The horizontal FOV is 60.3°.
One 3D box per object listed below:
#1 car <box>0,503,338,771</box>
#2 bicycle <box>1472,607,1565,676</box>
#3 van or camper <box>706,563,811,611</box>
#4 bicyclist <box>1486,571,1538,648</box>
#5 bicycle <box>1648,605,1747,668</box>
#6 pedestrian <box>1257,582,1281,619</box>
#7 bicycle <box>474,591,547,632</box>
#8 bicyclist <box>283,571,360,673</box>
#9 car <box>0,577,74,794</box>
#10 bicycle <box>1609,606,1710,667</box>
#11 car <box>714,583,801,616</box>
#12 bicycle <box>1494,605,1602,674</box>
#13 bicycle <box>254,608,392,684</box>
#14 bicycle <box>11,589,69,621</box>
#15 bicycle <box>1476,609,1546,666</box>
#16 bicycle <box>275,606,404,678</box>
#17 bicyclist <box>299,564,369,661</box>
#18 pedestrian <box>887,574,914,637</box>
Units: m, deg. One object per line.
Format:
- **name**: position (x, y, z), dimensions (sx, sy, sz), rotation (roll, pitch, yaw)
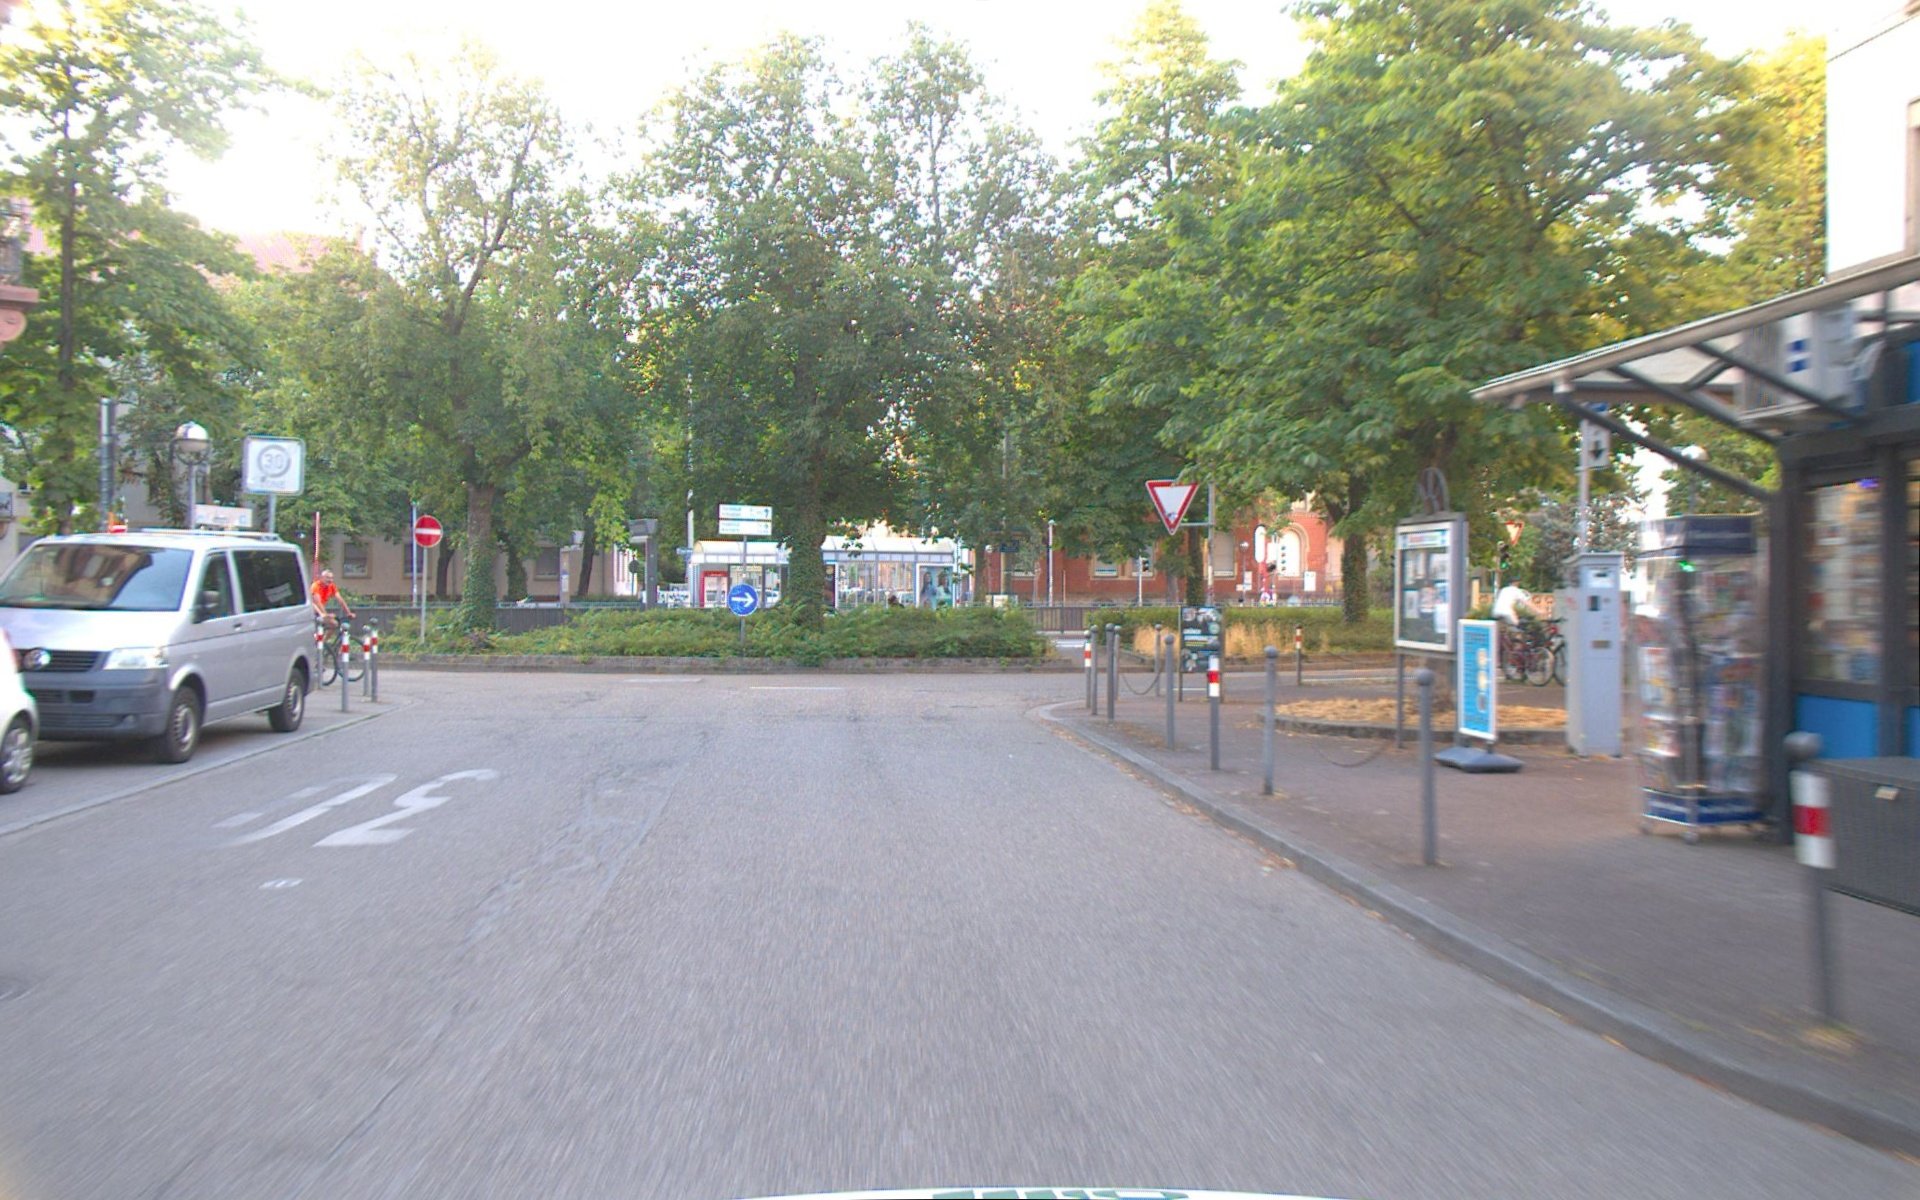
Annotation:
- **car**: position (-7.647, 0.252, 15.575), dimensions (2.001, 2.092, 5.000), rotation (2, 0, -5)
- **bicycle**: position (8.989, 0.648, 26.661), dimensions (0.425, 1.057, 1.594), rotation (0, 0, -26)
- **van or camper**: position (-14.318, -0.906, 117.548), dimensions (7.231, 3.137, 2.667), rotation (1, 0, -10)
- **bicyclist**: position (11.150, 0.182, 33.402), dimensions (0.696, 1.529, 0.914), rotation (0, 1, 41)
- **bicycle**: position (13.103, 0.630, 29.417), dimensions (0.415, 1.082, 1.583), rotation (0, 0, -42)
- **pedestrian**: position (13.254, 0.012, 70.951), dimensions (0.849, 1.552, 0.714), rotation (0, 0, 33)
- **bicycle**: position (-11.991, 0.307, 44.126), dimensions (1.828, 1.070, 0.542), rotation (0, 0, -28)
- **bicyclist**: position (-9.858, 0.330, 25.558), dimensions (0.846, 1.552, 0.716), rotation (0, 0, 17)
- **car**: position (-7.518, 0.595, 10.919), dimensions (1.651, 1.517, 3.609), rotation (2, 0, -6)
- **bicycle**: position (12.265, 0.627, 29.038), dimensions (0.549, 1.038, 1.586), rotation (0, 0, -38)
- **car**: position (-11.649, -0.041, 94.990), dimensions (4.860, 1.733, 1.996), rotation (1, 0, -10)
- **bicycle**: position (9.432, 0.612, 26.587), dimensions (0.425, 1.057, 1.883), rotation (0, 0, -26)
- **bicycle**: position (-9.843, 0.698, 25.558), dimensions (1.965, 1.126, 0.723), rotation (0, 0, 17)
- **bicycle**: position (-35.394, 0.180, 63.639), dimensions (0.671, 1.171, 1.917), rotation (0, 1, 28)
- **bicycle**: position (11.140, 0.740, 33.403), dimensions (0.696, 1.089, 1.824), rotation (1, 1, 41)
- **bicycle**: position (-10.065, 0.665, 26.837), dimensions (1.965, 1.126, 0.652), rotation (0, 0, 16)
- **bicyclist**: position (-10.167, 0.188, 26.873), dimensions (0.846, 1.552, 0.654), rotation (0, 0, 16)
- **pedestrian**: position (-1.389, 0.114, 38.430), dimensions (0.604, 1.456, 0.655), rotation (0, 1, -4)
